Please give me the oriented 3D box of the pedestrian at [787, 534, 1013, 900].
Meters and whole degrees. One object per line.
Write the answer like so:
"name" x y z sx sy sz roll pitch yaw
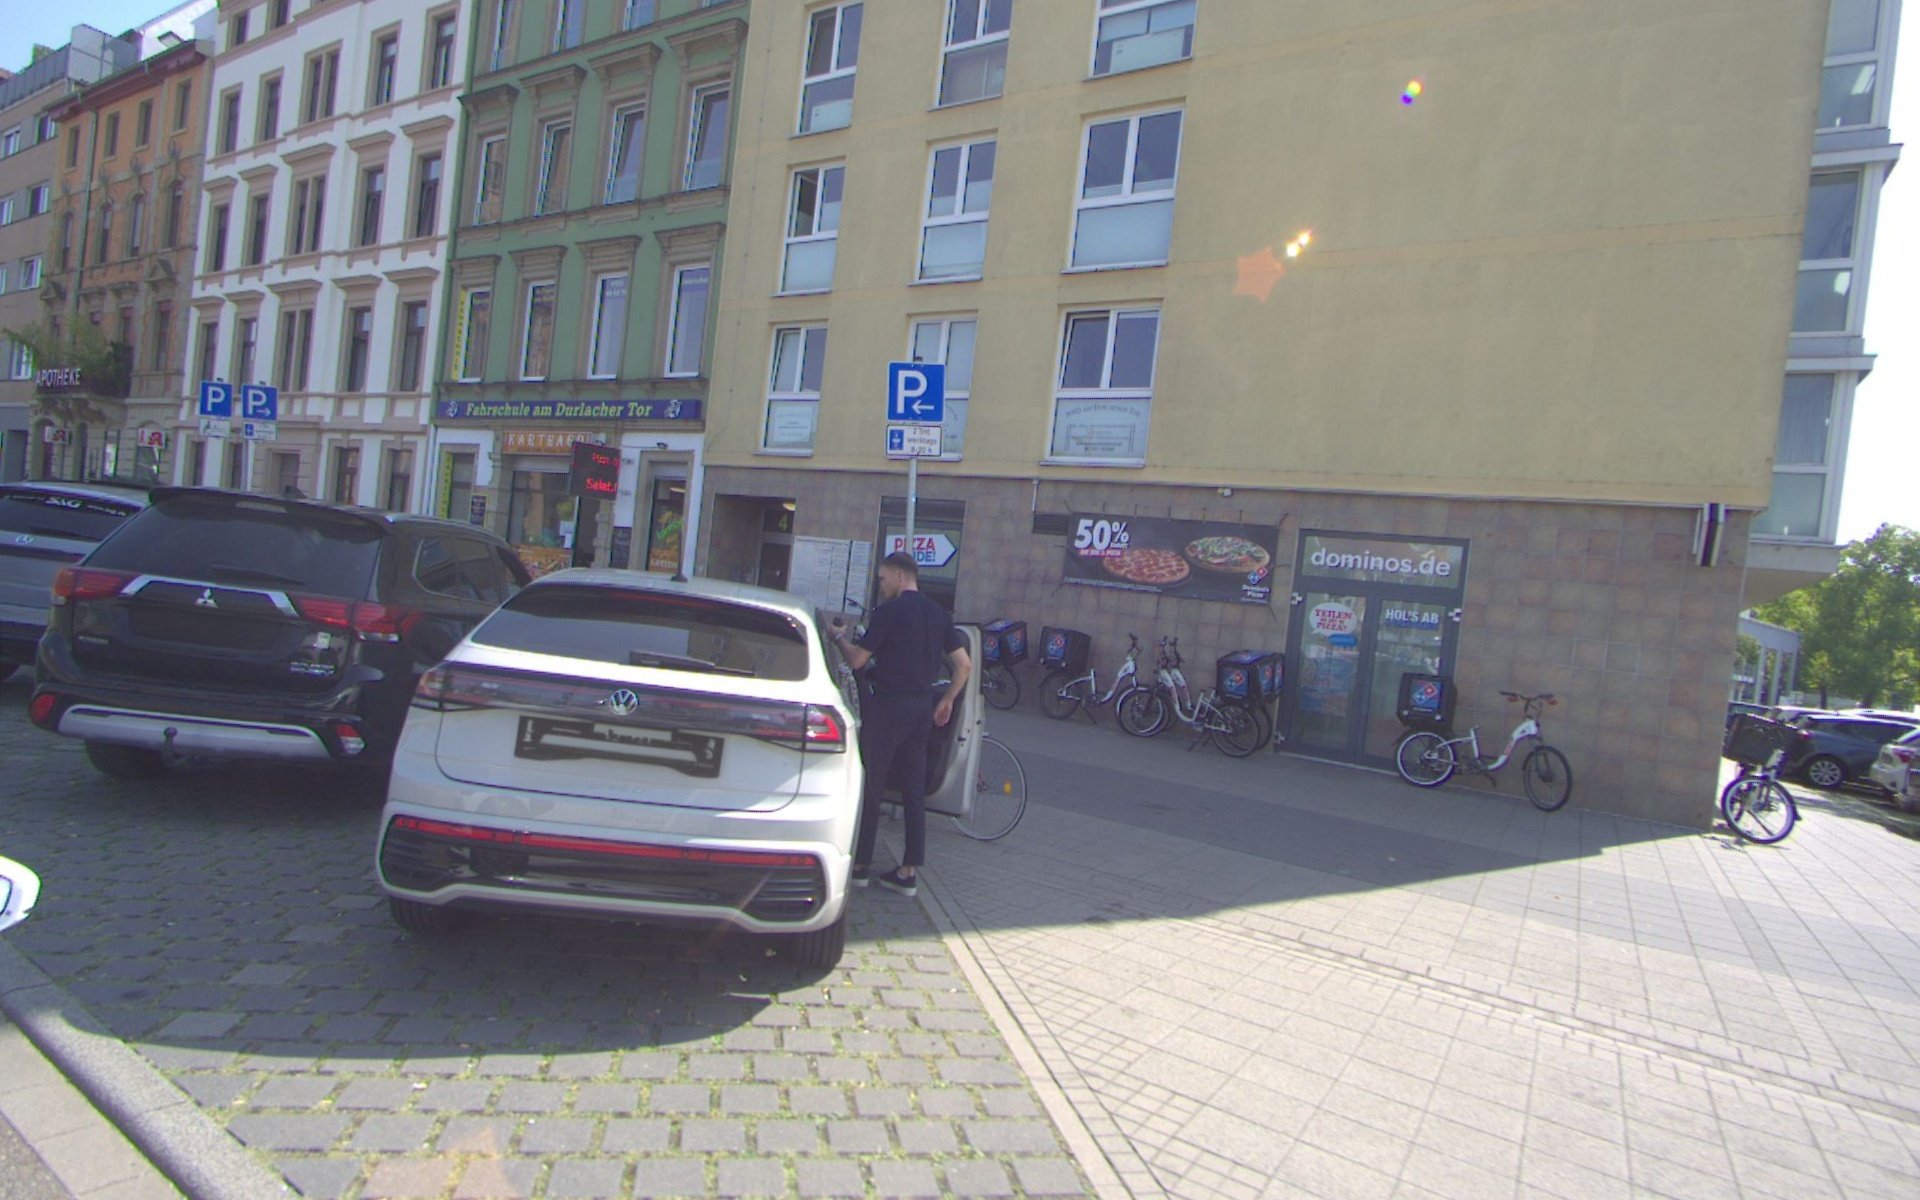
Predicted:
"pedestrian" -0.280 0.600 5.565 0.887 1.725 1.039 7 0 6

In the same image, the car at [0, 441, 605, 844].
"car" -3.969 0.186 6.899 1.953 1.708 4.384 7 0 -9

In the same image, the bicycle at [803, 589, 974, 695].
"bicycle" -1.099 0.604 15.042 2.384 1.254 0.938 7 1 36

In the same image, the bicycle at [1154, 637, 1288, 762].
"bicycle" 3.088 1.153 12.055 0.584 1.254 1.536 6 1 -25

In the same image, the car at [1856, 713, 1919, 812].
"car" 17.547 2.929 16.231 4.174 1.489 1.902 7 1 30

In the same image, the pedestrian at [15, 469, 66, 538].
"pedestrian" -25.710 -2.697 28.132 1.001 1.796 0.684 8 2 32

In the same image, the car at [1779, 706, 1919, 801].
"car" 17.694 2.976 19.051 3.046 1.403 1.500 7 1 30

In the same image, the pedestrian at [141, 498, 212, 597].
"pedestrian" -14.589 -0.976 18.737 0.927 1.707 0.671 7 2 32

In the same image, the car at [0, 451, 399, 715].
"car" -7.184 -0.220 9.147 2.009 1.735 4.657 7 0 -9

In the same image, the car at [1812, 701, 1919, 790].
"car" 21.898 3.412 22.433 4.004 1.687 1.787 7 1 30

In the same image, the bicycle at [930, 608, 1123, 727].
"bicycle" 0.872 0.881 13.694 2.384 1.254 0.938 7 1 36

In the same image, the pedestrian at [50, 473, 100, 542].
"pedestrian" -25.259 -2.637 28.716 1.001 1.796 0.684 8 2 32

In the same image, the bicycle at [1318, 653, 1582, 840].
"bicycle" 5.076 1.435 10.875 0.888 1.422 3.361 6 0 -4

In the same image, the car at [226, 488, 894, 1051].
"car" -1.448 0.576 4.964 1.777 1.517 3.782 8 -2 -8

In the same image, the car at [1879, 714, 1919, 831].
"car" 14.373 2.482 12.308 4.175 1.487 1.904 7 -1 31

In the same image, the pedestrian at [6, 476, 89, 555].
"pedestrian" -20.484 -1.872 22.602 0.953 1.602 0.852 6 1 -1

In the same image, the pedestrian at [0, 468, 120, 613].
"pedestrian" -12.240 -0.801 13.703 0.860 1.771 0.866 10 -1 -30

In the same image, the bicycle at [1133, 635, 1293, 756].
"bicycle" 3.193 1.179 12.773 1.796 1.254 0.409 7 1 30

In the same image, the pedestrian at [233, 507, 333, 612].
"pedestrian" -11.247 -0.659 16.752 0.953 1.602 0.852 6 1 -1

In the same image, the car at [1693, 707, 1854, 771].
"car" 28.233 4.797 35.086 4.004 1.415 1.787 7 1 30

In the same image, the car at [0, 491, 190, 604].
"car" -14.929 -0.915 17.174 3.560 1.459 1.632 8 1 32

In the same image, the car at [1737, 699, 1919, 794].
"car" 18.546 3.072 21.251 3.046 1.447 1.401 7 1 30

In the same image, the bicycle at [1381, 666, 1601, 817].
"bicycle" 5.716 1.478 10.896 1.928 1.262 0.728 7 1 32

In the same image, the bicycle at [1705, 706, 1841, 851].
"bicycle" 8.388 1.790 10.452 0.579 1.222 1.725 7 1 25

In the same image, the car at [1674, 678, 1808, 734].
"car" 32.386 4.358 41.868 4.004 1.687 1.787 7 1 30

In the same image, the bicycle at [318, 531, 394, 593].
"bicycle" -14.232 -0.912 23.670 2.431 1.161 0.480 9 3 35

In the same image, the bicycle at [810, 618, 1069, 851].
"bicycle" -0.183 0.866 7.005 1.763 1.313 0.473 6 1 35

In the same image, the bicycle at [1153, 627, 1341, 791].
"bicycle" 3.190 1.139 11.715 0.888 1.422 3.361 6 0 -4

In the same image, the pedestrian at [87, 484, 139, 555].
"pedestrian" -24.073 -2.280 28.608 0.674 1.871 0.842 7 3 23
